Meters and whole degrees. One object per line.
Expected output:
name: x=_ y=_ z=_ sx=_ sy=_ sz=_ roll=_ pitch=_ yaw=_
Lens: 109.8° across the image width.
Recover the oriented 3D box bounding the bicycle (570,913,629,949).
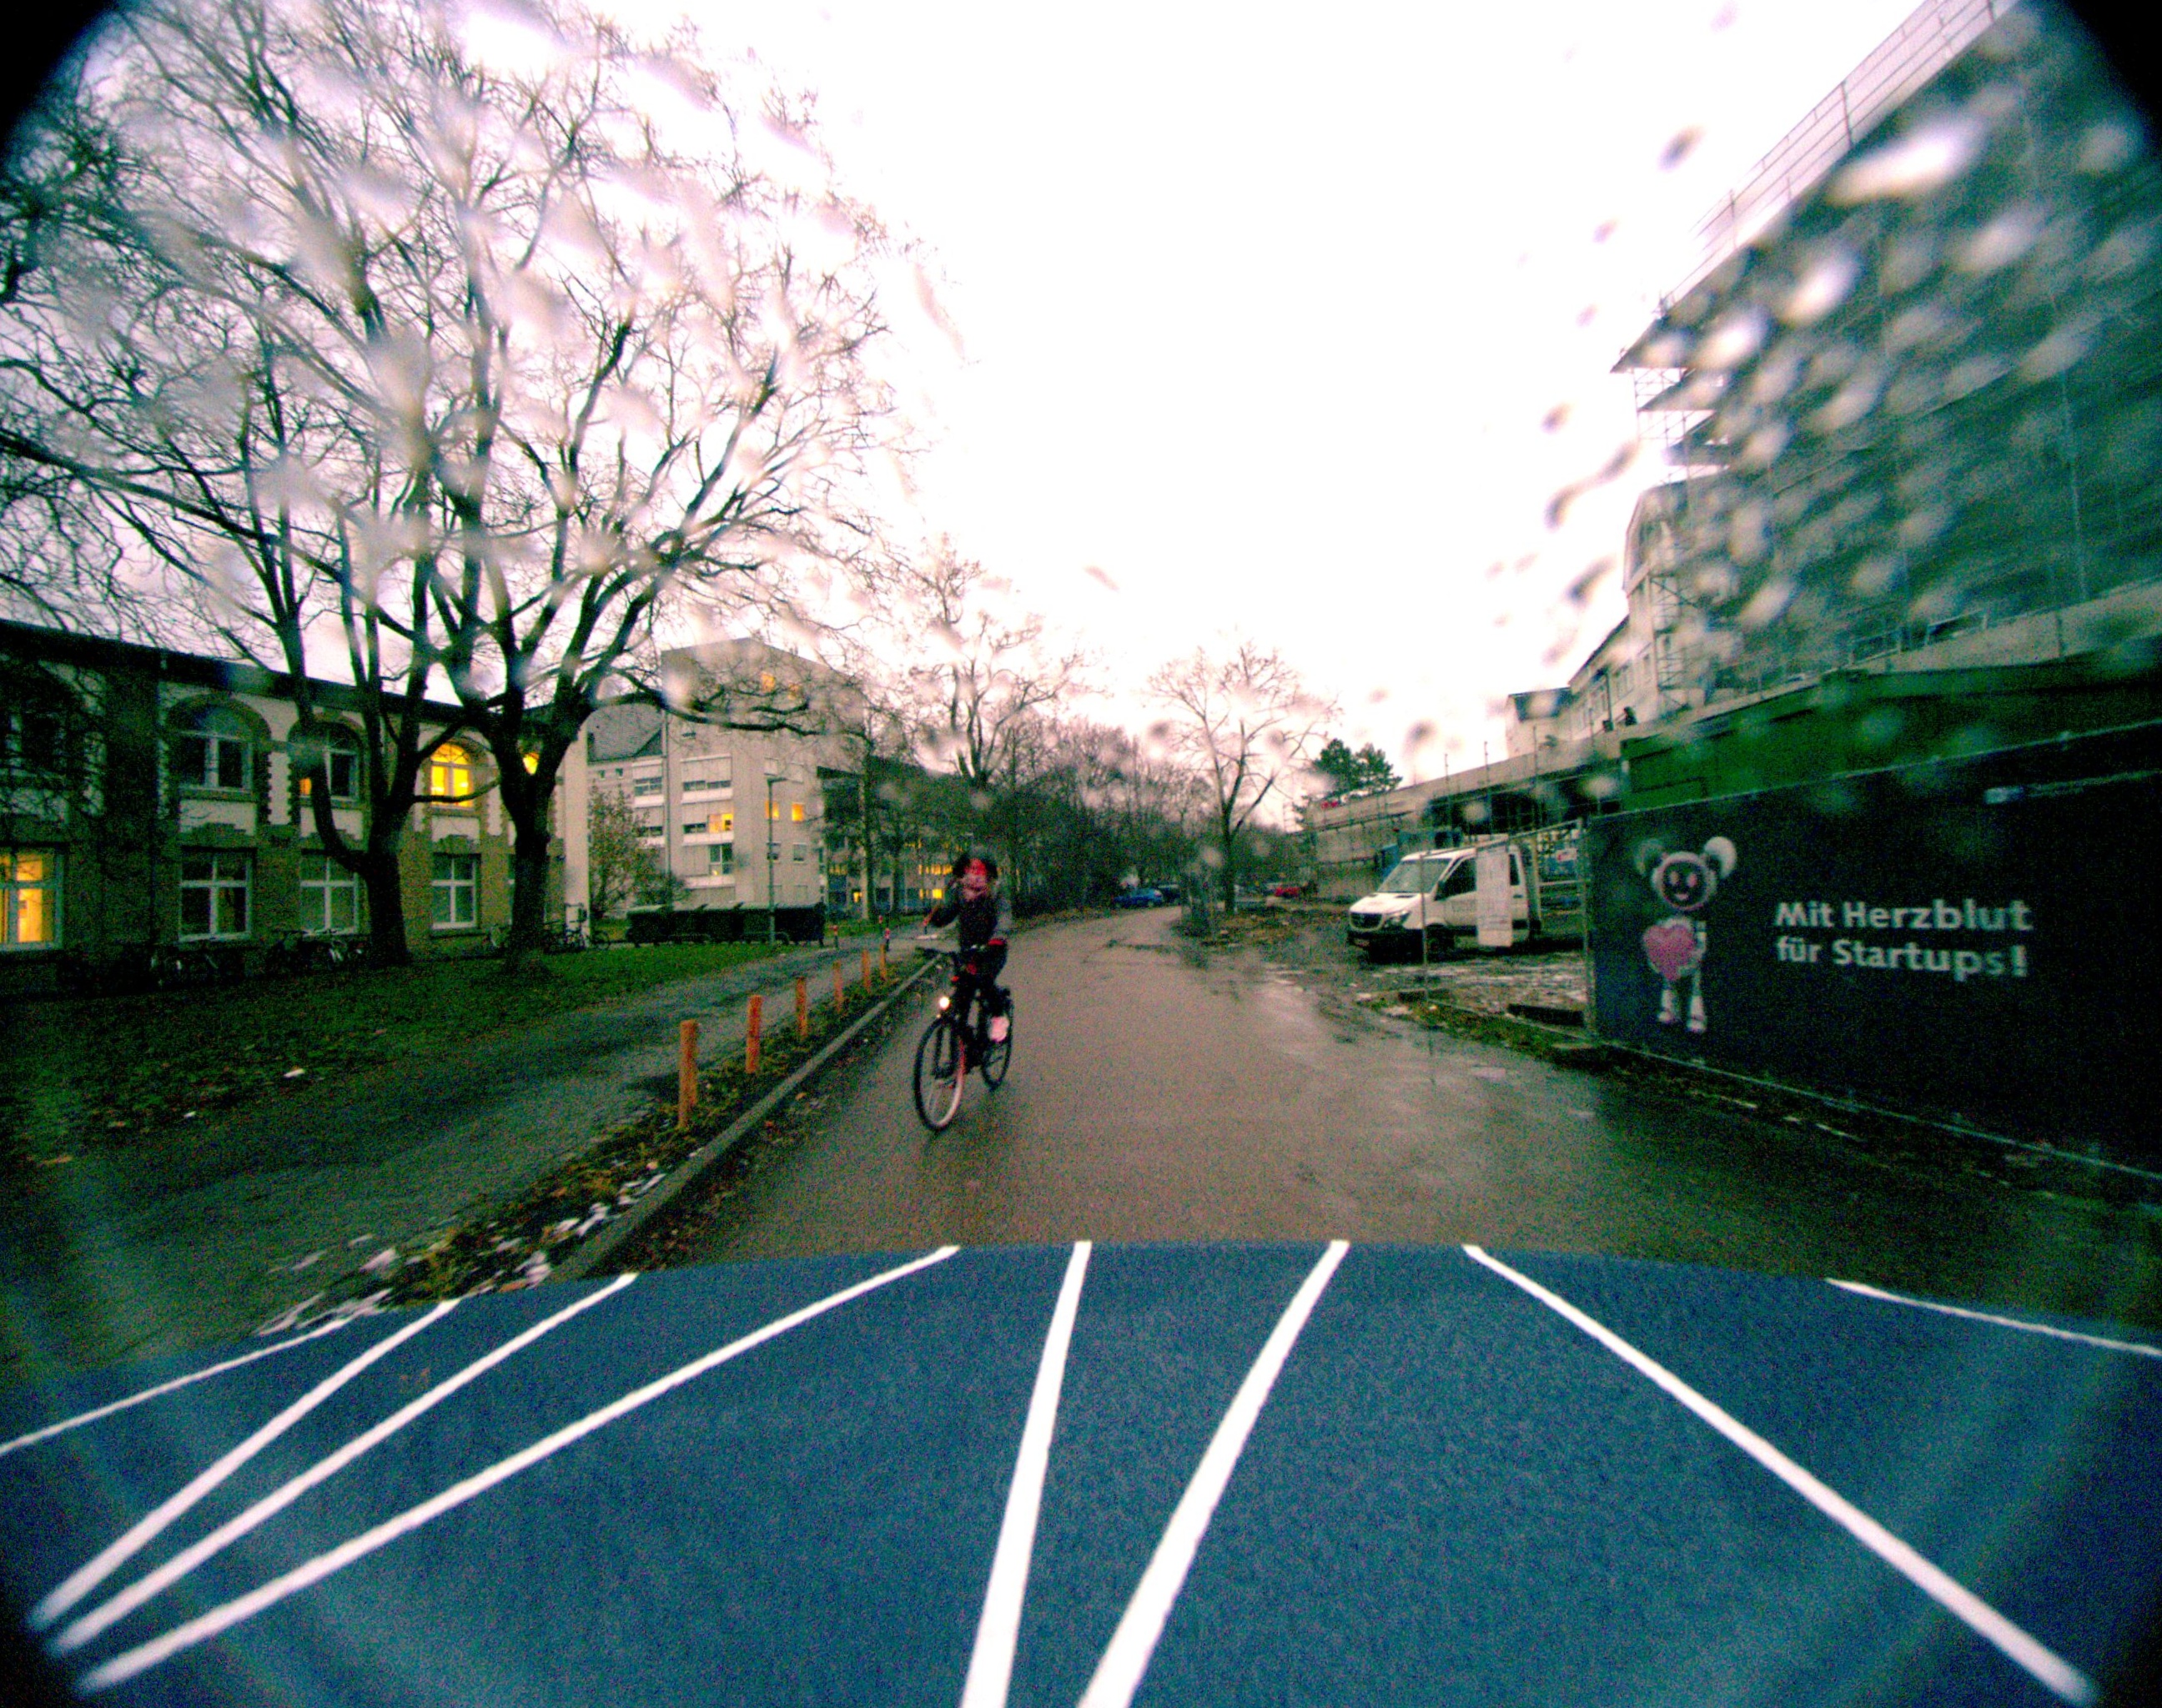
bicycle: x=-16.117 y=2.573 z=25.439 sx=2.136 sy=1.150 sz=0.574 roll=-3 pitch=-2 yaw=25

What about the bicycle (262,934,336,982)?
bicycle: x=-19.077 y=2.520 z=18.520 sx=2.136 sy=1.085 sz=0.574 roll=-3 pitch=-2 yaw=25

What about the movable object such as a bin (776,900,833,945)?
movable object such as a bin: x=-8.554 y=2.101 z=23.536 sx=1.322 sy=1.309 sz=1.064 roll=-1 pitch=-1 yaw=5

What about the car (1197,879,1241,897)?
car: x=13.944 y=3.475 z=76.905 sx=3.991 sy=1.651 sz=2.004 roll=-3 pitch=-2 yaw=24

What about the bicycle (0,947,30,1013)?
bicycle: x=-20.637 y=2.362 z=14.309 sx=2.136 sy=1.150 sz=0.574 roll=-3 pitch=-2 yaw=25

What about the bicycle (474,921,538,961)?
bicycle: x=-17.307 y=2.604 z=22.843 sx=2.136 sy=1.150 sz=0.574 roll=-3 pitch=-2 yaw=25

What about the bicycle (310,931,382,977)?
bicycle: x=-18.744 y=2.527 z=19.372 sx=2.136 sy=1.103 sz=0.574 roll=-3 pitch=-2 yaw=25

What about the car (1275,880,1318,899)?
car: x=18.127 y=2.997 z=63.821 sx=3.302 sy=1.513 sz=1.707 roll=-2 pitch=-2 yaw=20

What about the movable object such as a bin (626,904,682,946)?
movable object such as a bin: x=-14.166 y=2.338 z=25.223 sx=1.261 sy=1.306 sz=0.989 roll=-2 pitch=-2 yaw=18

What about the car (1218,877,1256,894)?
car: x=18.239 y=3.695 z=89.087 sx=3.991 sy=1.785 sz=1.805 roll=-3 pitch=-2 yaw=24

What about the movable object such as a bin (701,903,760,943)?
movable object such as a bin: x=-11.284 y=2.219 z=24.482 sx=1.435 sy=1.217 sz=0.989 roll=-2 pitch=-2 yaw=18

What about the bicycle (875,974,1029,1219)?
bicycle: x=-0.800 y=1.527 z=5.270 sx=0.730 sy=1.125 sz=1.894 roll=-2 pitch=-2 yaw=-1

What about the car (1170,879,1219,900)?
car: x=10.386 y=3.258 z=69.309 sx=3.991 sy=1.785 sz=1.805 roll=-3 pitch=-2 yaw=24

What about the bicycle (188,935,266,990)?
bicycle: x=-19.515 y=2.461 z=17.355 sx=2.136 sy=1.150 sz=0.574 roll=-3 pitch=-2 yaw=25

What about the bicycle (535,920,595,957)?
bicycle: x=-16.730 y=2.733 z=24.637 sx=2.136 sy=1.150 sz=0.574 roll=-3 pitch=-2 yaw=25

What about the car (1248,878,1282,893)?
car: x=23.915 y=4.123 z=98.925 sx=3.991 sy=1.785 sz=1.805 roll=-3 pitch=-2 yaw=24

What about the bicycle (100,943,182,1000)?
bicycle: x=-20.032 y=2.478 z=16.185 sx=2.136 sy=1.011 sz=0.574 roll=-1 pitch=-1 yaw=25

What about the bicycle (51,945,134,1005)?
bicycle: x=-20.284 y=2.459 z=15.582 sx=2.136 sy=1.044 sz=0.574 roll=-1 pitch=-1 yaw=25

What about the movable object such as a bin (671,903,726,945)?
movable object such as a bin: x=-12.578 y=2.293 z=24.979 sx=1.249 sy=1.272 sz=0.989 roll=-2 pitch=-2 yaw=18

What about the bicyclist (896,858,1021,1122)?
bicyclist: x=-0.822 y=0.887 z=5.289 sx=0.706 sy=1.679 sz=0.771 roll=-2 pitch=-1 yaw=-1

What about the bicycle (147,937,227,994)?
bicycle: x=-19.759 y=2.431 z=16.784 sx=2.136 sy=1.150 sz=0.574 roll=-3 pitch=-2 yaw=25

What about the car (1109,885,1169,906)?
car: x=4.400 y=3.164 z=57.578 sx=4.172 sy=1.468 sz=2.004 roll=-2 pitch=-5 yaw=21

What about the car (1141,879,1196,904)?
car: x=7.238 y=3.092 z=62.853 sx=3.991 sy=1.979 sz=2.004 roll=-3 pitch=-2 yaw=24

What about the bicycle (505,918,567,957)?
bicycle: x=-16.996 y=2.593 z=23.679 sx=2.136 sy=1.150 sz=0.574 roll=-3 pitch=-2 yaw=25

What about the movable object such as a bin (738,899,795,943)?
movable object such as a bin: x=-9.912 y=2.107 z=23.968 sx=1.305 sy=1.306 sz=0.989 roll=-2 pitch=-2 yaw=18

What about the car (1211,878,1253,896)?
car: x=16.206 y=3.499 z=81.575 sx=3.991 sy=1.785 sz=1.805 roll=-3 pitch=-2 yaw=24

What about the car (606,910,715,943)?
car: x=-19.651 y=3.354 z=35.682 sx=1.995 sy=1.273 sz=4.008 roll=-3 pitch=-2 yaw=28

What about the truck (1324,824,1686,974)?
truck: x=9.050 y=0.867 z=16.337 sx=7.083 sy=2.572 sz=2.131 roll=-3 pitch=-1 yaw=-13
